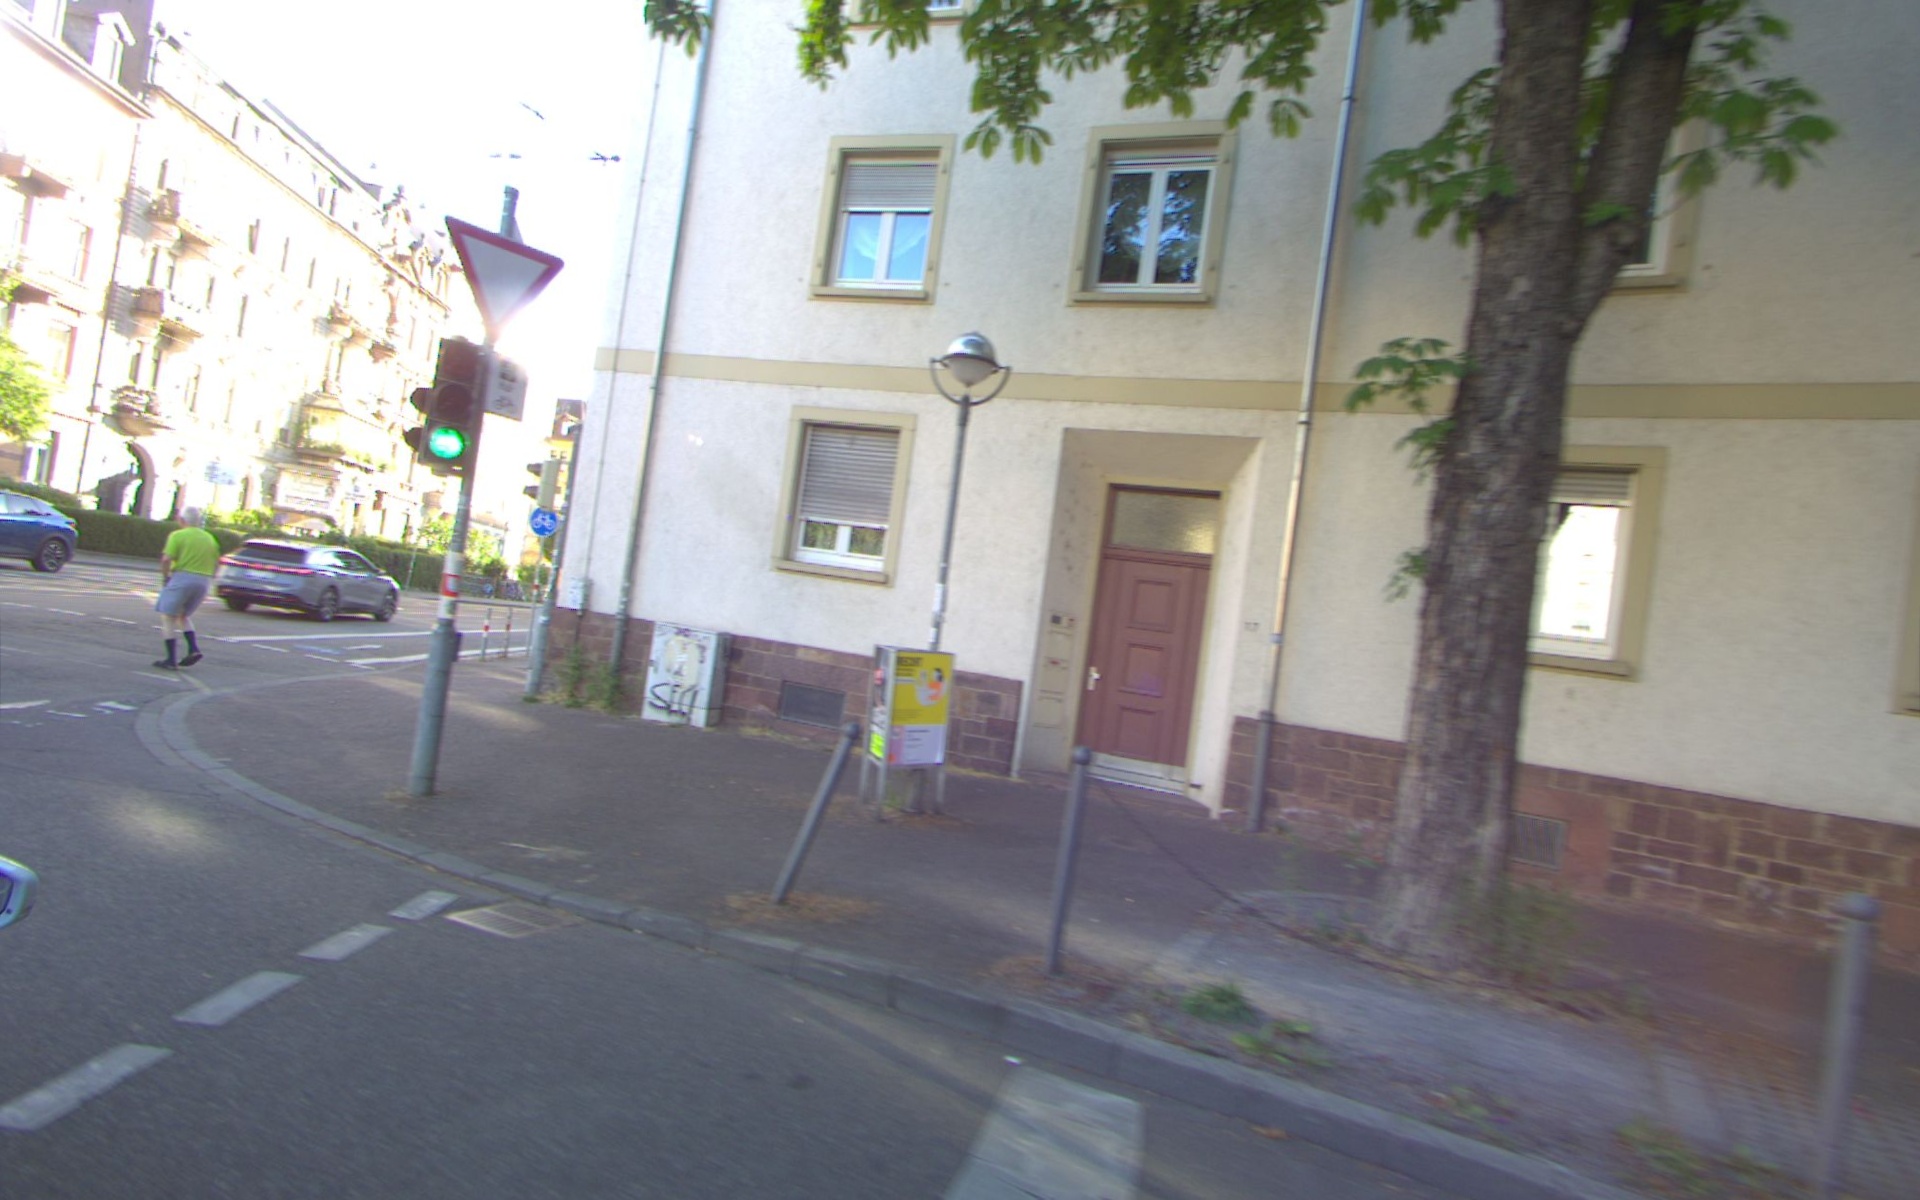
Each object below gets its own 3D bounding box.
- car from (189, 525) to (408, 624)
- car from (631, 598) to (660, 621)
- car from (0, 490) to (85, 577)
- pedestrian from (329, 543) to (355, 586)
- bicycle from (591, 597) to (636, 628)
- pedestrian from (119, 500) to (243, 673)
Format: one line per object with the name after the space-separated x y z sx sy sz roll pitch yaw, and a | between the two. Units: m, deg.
-13.808 -0.425 21.401 1.943 1.603 4.472 8 -2 -7 | car
-24.483 0.741 78.415 1.512 1.541 3.472 9 -3 -10 | car
-20.764 -1.578 20.558 1.914 1.668 4.411 8 -2 -4 | car
-25.504 -1.462 41.498 0.516 1.659 0.496 8 -1 7 | pedestrian
-28.375 1.044 82.468 3.193 2.041 0.930 9 0 -10 | bicycle
-8.641 -0.155 11.157 0.875 1.745 0.643 9 -3 41 | pedestrian
